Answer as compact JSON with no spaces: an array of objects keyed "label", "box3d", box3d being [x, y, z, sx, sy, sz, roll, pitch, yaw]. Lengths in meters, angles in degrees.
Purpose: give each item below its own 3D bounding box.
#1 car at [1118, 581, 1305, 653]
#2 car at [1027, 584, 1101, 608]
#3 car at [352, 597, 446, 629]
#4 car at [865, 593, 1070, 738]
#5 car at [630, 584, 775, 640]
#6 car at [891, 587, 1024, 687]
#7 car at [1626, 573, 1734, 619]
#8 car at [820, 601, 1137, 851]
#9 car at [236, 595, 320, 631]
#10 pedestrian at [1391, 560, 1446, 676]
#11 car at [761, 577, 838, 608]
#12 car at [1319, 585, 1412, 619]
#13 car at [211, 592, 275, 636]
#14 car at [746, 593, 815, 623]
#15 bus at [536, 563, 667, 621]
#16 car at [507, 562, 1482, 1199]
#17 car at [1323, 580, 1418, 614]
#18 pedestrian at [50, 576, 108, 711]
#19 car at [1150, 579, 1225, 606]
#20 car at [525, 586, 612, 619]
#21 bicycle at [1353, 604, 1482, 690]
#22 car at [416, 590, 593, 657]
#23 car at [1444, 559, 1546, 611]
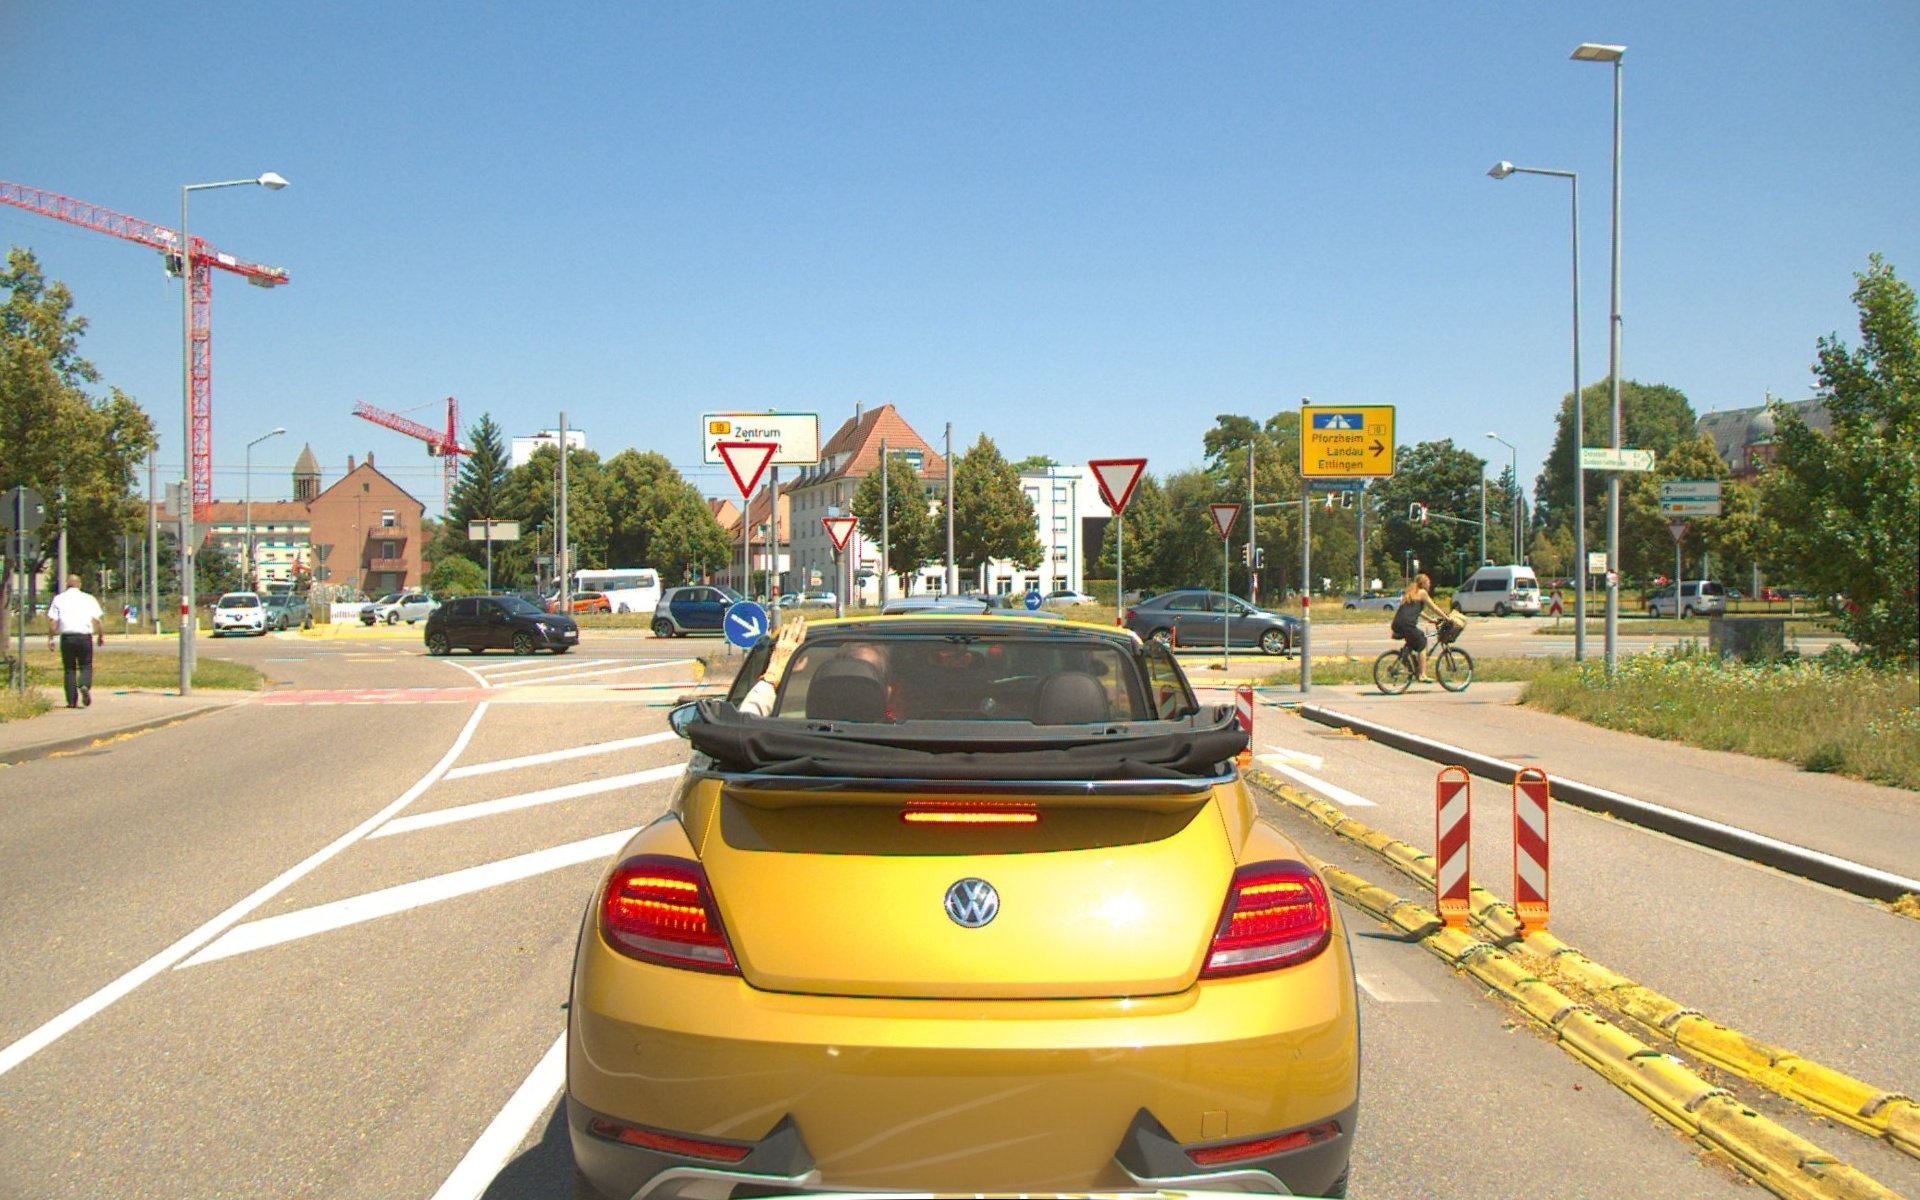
[{"label":"car","box3d":[5.896,0.386,38.986,4.237,1.579,1.729,1,0,8]},{"label":"car","box3d":[6.331,-0.221,100.734,4.225,1.395,1.753,1,0,16]},{"label":"car","box3d":[-26.406,0.606,78.033,1.693,1.427,4.267,1,0,26]},{"label":"car","box3d":[0.045,0.662,18.605,2.023,1.406,4.257,1,0,-1]},{"label":"car","box3d":[-7.683,0.345,49.437,3.902,1.579,1.729,1,0,13]},{"label":"car","box3d":[-0.073,0.553,27.652,2.023,1.506,4.542,-1,0,-1]},{"label":"car","box3d":[35.166,-0.192,80.940,1.955,2.107,5.305,1,0,-16]},{"label":"car","box3d":[0.077,0.725,11.680,1.814,1.389,4.257,-1,0,-1]},{"label":"car","box3d":[-27.799,0.535,67.545,1.711,1.395,4.329,1,0,-2]},{"label":"pedestrian","box3d":[6.958,0.270,25.113,0.717,1.721,0.575,1,-1,9]},{"label":"car","box3d":[-9.693,-0.447,99.819,4.356,1.766,1.842,1,0,-15]},{"label":"car","box3d":[24.627,0.087,100.516,1.979,1.996,5.242,1,0,-44]},{"label":"car","box3d":[-26.242,0.497,60.473,1.757,1.554,3.833,-1,0,-30]},{"label":"car","box3d":[-11.201,0.500,103.227,3.937,1.803,1.772,1,0,-26]},{"label":"bus","box3d":[-21.056,-0.424,97.274,7.187,3.228,2.235,1,-1,-34]},{"label":"car","box3d":[0.035,0.709,5.087,1.729,1.507,4.257,1,0,-1]},{"label":"car","box3d":[24.829,-0.179,100.098,5.220,1.996,1.987,1,0,35]},{"label":"pedestrian","box3d":[-12.230,0.592,22.959,0.629,1.817,0.959,1,-1,-31]},{"label":"car","box3d":[14.023,-0.461,101.953,4.232,1.642,1.880,1,0,26]},{"label":"car","box3d":[-21.827,0.165,92.329,4.386,1.766,1.829,1,0,-32]},{"label":"bicycle","box3d":[6.934,0.713,25.117,1.803,1.253,0.614,-2,-1,10]},{"label":"car","box3d":[-11.396,0.575,41.468,3.902,1.579,1.730,0,2,14]},{"label":"car","box3d":[26.271,-0.733,81.459,1.958,2.439,5.297,1,0,-20]}]
